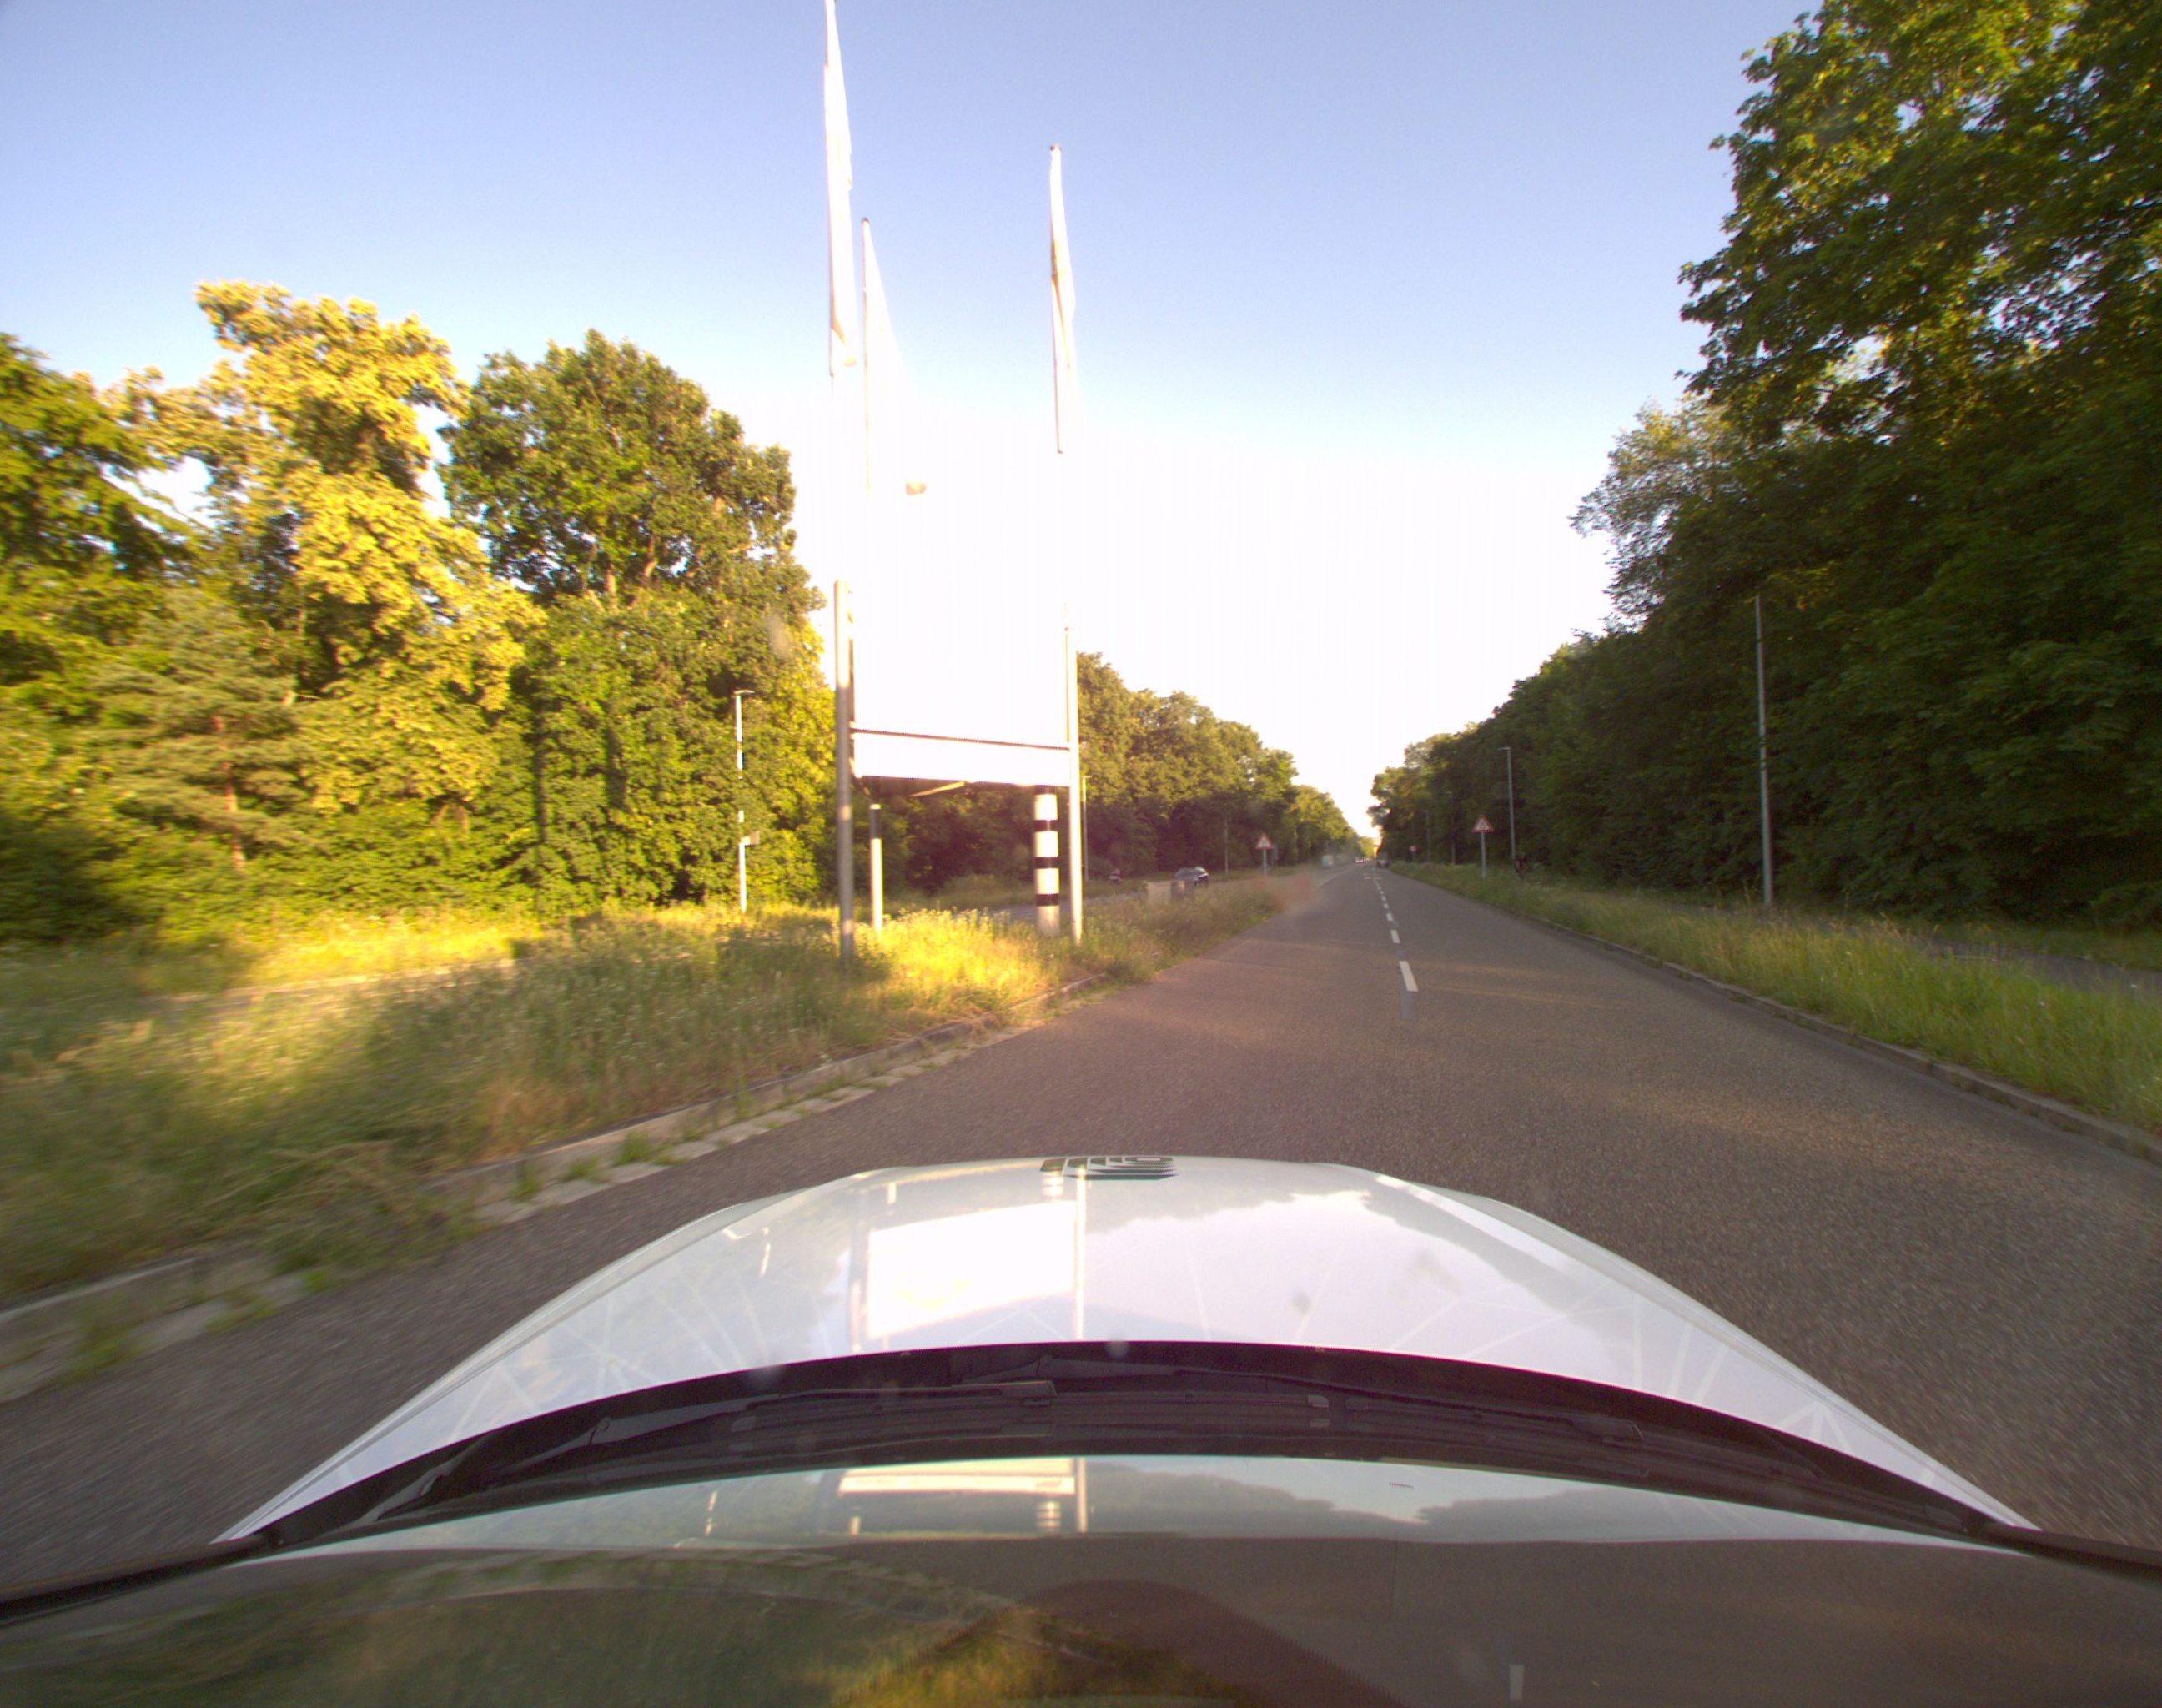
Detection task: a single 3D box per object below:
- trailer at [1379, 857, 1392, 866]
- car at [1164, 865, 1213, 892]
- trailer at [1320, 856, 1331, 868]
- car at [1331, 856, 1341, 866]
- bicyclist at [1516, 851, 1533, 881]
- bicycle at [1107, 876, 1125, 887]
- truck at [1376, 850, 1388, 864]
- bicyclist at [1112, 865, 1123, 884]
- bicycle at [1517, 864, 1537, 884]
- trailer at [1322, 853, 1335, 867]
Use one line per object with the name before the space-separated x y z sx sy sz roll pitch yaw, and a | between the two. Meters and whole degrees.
trailer | 58.589 1.509 156.740 1.442 1.662 3.801 -3 -1 33
car | 6.852 1.521 51.604 1.803 1.534 4.480 -4 -2 23
trailer | 48.290 1.565 160.539 1.802 2.168 4.162 -3 -1 19
car | 62.357 1.642 199.256 1.977 2.364 5.794 -5 -2 20
bicyclist | 22.387 0.604 41.083 0.598 1.455 0.784 -2 -1 20
bicycle | 2.760 2.164 64.066 0.580 0.804 1.970 -3 -1 27
truck | 69.308 0.766 187.401 2.566 3.255 7.258 -1 -1 21
bicyclist | 2.880 1.606 64.212 0.580 1.430 0.827 -3 -1 27
bicycle | 22.343 0.991 40.839 0.606 0.996 1.699 -3 -2 20
trailer | 53.399 1.300 175.376 2.306 2.924 5.654 -4 -2 19
